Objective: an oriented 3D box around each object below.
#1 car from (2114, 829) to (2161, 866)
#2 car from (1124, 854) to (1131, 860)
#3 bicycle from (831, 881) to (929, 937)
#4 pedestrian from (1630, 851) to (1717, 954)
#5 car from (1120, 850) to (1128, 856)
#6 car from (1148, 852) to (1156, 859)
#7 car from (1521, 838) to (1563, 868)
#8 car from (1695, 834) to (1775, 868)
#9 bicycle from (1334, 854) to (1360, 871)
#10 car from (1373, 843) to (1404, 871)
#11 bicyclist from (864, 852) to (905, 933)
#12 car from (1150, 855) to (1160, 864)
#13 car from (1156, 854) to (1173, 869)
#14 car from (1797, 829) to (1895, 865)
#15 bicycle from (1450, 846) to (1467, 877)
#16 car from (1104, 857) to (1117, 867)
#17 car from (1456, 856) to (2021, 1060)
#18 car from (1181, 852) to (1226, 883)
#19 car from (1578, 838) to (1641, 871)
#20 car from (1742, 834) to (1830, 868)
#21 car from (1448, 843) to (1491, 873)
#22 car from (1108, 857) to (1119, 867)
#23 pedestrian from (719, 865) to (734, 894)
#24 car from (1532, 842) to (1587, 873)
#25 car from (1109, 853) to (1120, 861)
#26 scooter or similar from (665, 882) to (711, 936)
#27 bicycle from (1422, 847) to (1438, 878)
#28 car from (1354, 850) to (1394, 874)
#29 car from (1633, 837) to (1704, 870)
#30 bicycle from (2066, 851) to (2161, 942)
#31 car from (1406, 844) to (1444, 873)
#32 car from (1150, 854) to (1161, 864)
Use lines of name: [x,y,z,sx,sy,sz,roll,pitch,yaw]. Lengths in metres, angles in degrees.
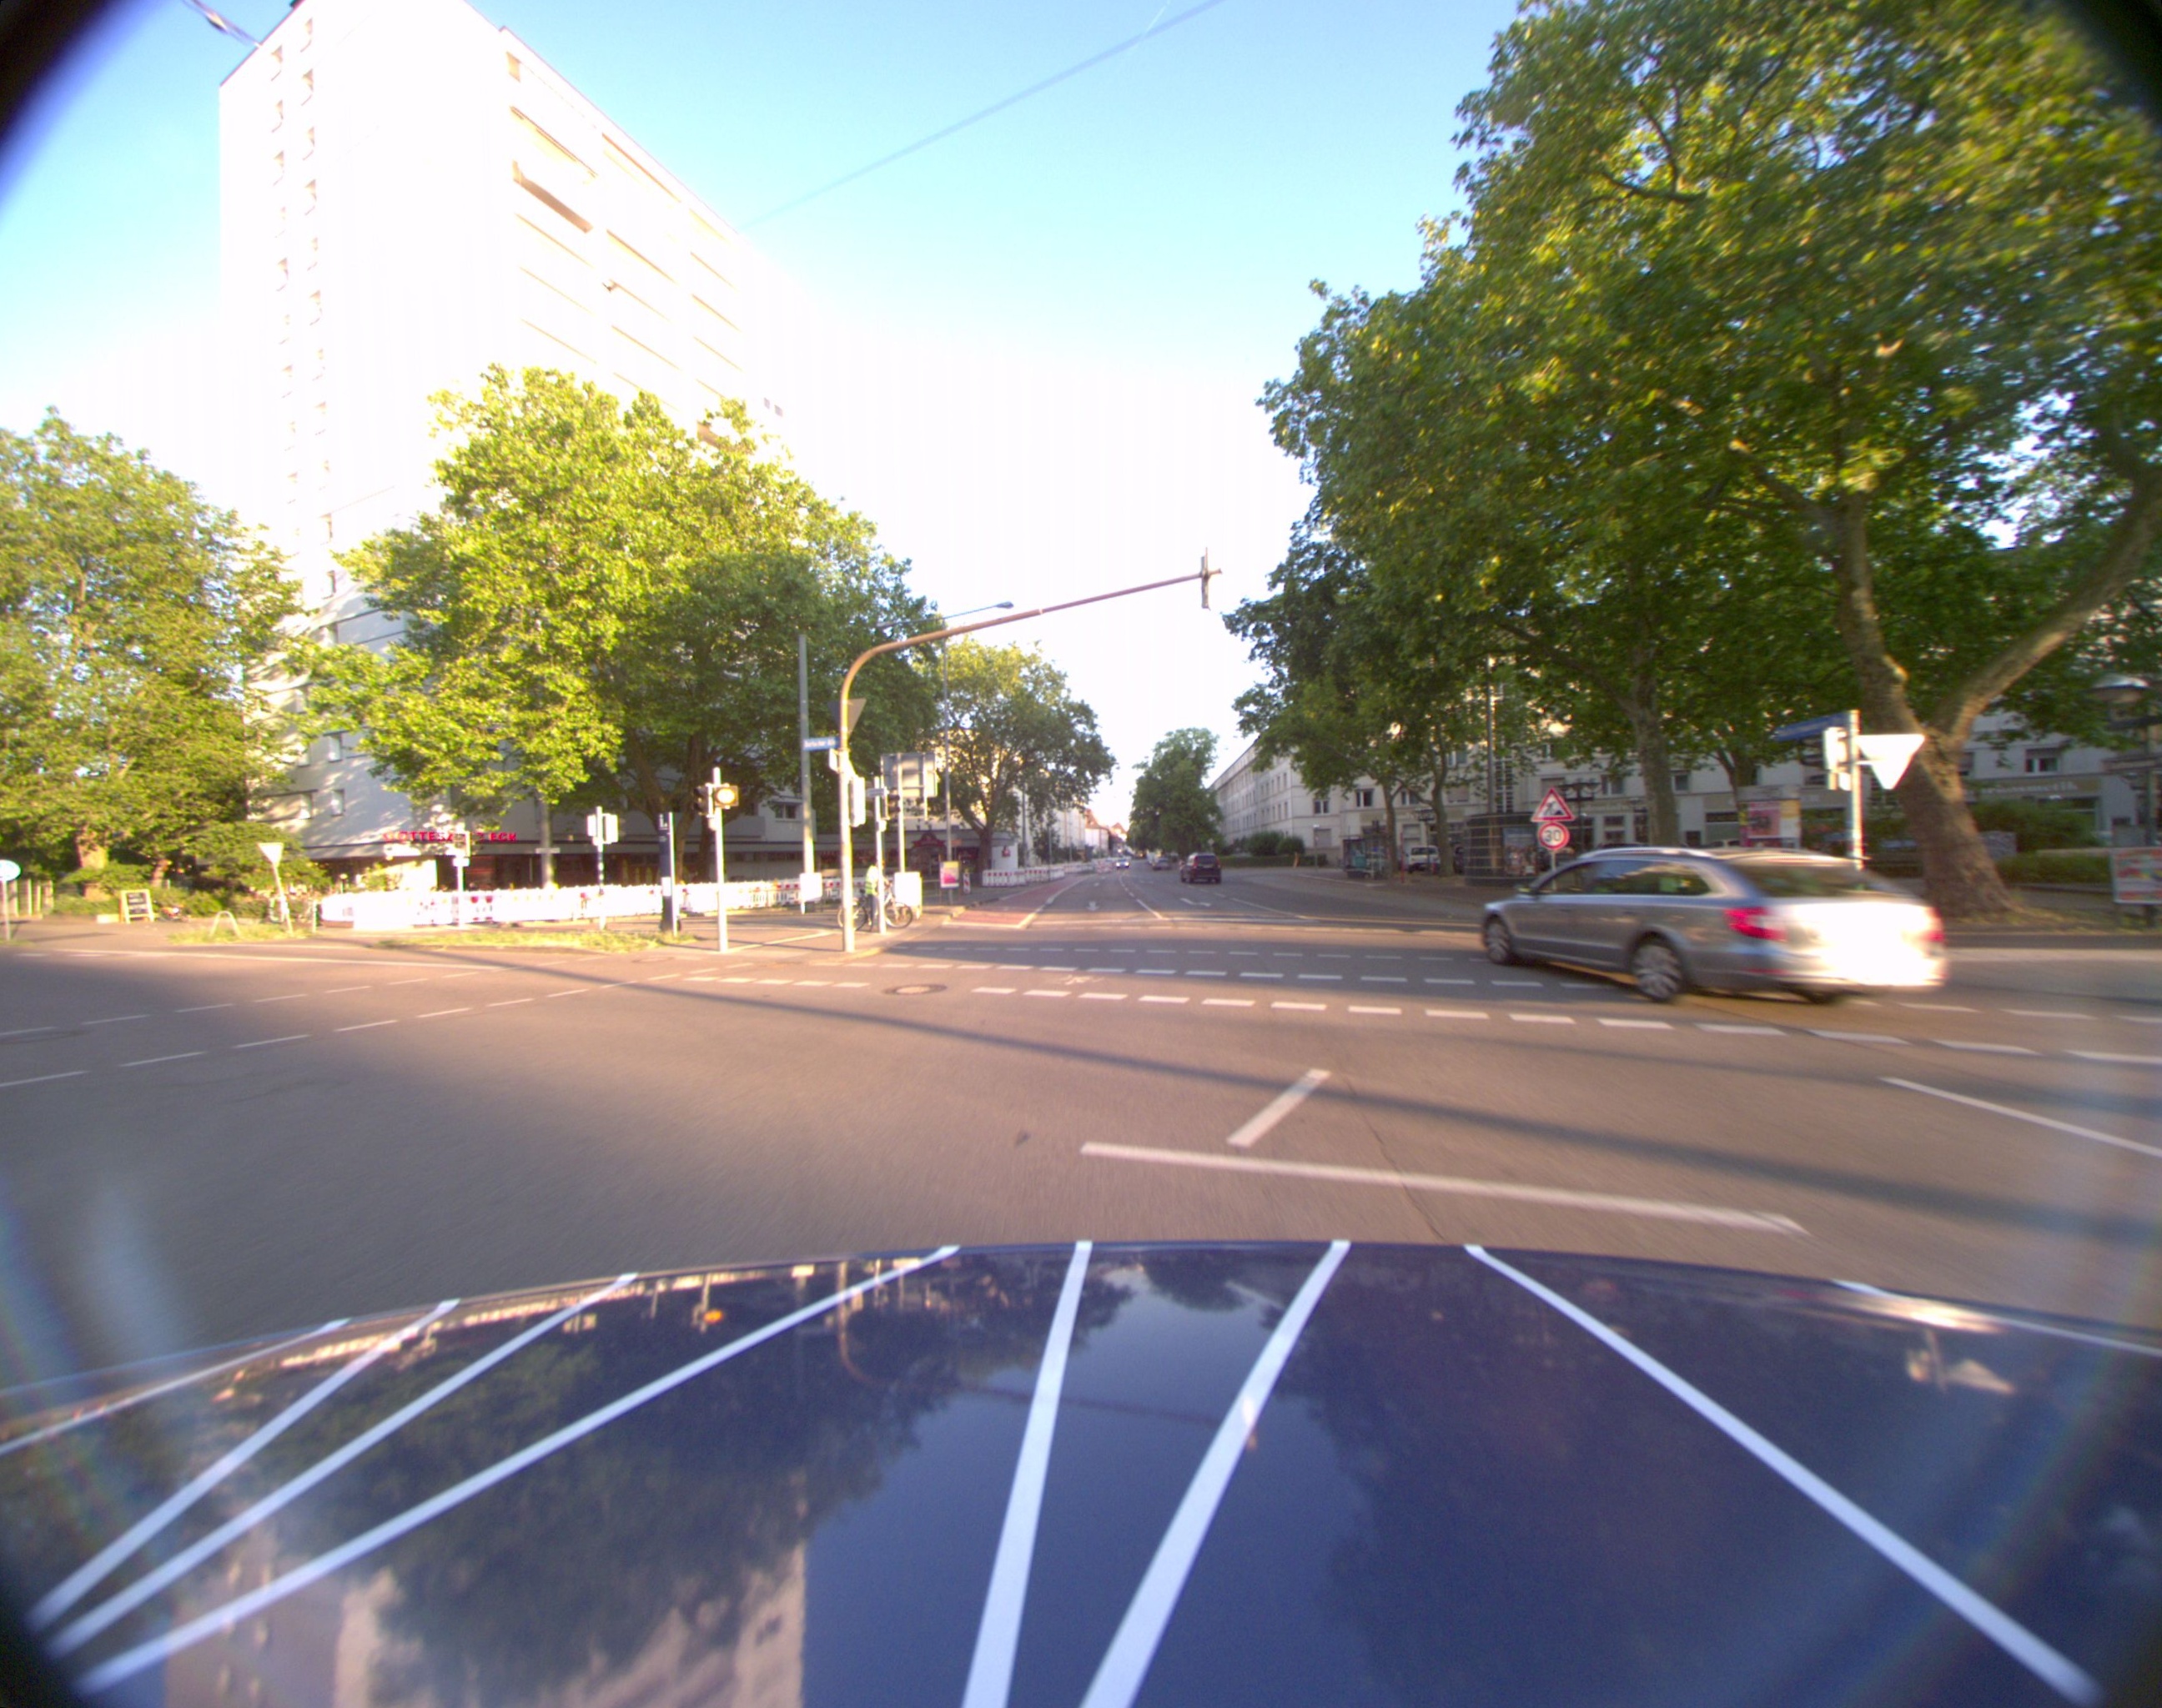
car: [50.840,-0.310,34.818,1.995,1.725,4.649,0,-1,22]
car: [14.661,1.027,240.637,1.892,1.591,4.261,-2,1,7]
bicycle: [-4.700,1.263,17.804,2.075,1.103,0.627,-3,1,-30]
pedestrian: [9.831,0.784,12.638,0.804,1.618,0.773,-3,1,-3]
car: [12.402,-0.213,219.778,1.892,1.591,4.261,-2,1,7]
car: [18.909,0.392,201.831,1.892,1.591,4.261,-2,1,7]
car: [32.848,-0.135,54.250,1.995,1.945,4.647,0,2,25]
car: [35.783,-0.094,41.728,1.995,1.771,4.649,0,-1,22]
bicycle: [20.433,0.658,58.376,1.802,1.199,0.648,-2,1,34]
car: [23.640,0.189,58.261,1.995,1.945,4.647,0,2,25]
bicyclist: [-4.617,0.885,17.850,0.700,1.814,0.627,-3,1,-30]
car: [14.859,1.140,152.766,1.892,1.591,4.261,-2,1,7]
car: [9.812,0.871,89.173,1.892,1.591,4.001,-2,1,7]
car: [40.109,-0.300,40.006,1.995,1.771,4.649,0,-1,22]
bicycle: [21.395,0.408,43.037,0.808,1.605,2.749,-2,1,27]
car: [5.324,1.379,136.095,1.892,1.591,4.261,-2,1,7]
car: [6.275,0.814,8.273,1.999,1.549,4.768,0,0,-1]
car: [7.408,0.794,46.439,1.998,1.774,4.798,-2,0,1]
car: [30.437,0.079,43.915,1.995,1.771,4.649,0,-1,22]
car: [38.082,-0.111,41.188,1.995,1.771,4.649,0,-1,22]
car: [24.012,0.256,47.057,1.995,1.771,4.649,0,-1,22]
car: [6.357,1.614,148.365,1.892,1.726,4.261,-2,1,7]
pedestrian: [-19.976,1.444,42.821,0.642,1.579,0.745,-3,1,-19]
car: [28.279,0.232,45.027,1.995,1.771,4.649,0,-1,22]
car: [7.003,0.615,156.881,1.892,1.651,4.261,-2,1,7]
scooter or similar: [-9.566,1.326,18.493,1.231,1.242,0.516,-2,1,42]
bicycle: [19.912,0.470,43.372,0.690,1.605,2.749,-2,1,27]
car: [19.002,0.519,49.459,1.996,1.494,4.647,0,-1,16]
car: [32.956,0.015,42.788,1.995,1.771,4.649,0,-1,22]
bicycle: [16.495,0.642,11.585,0.526,1.319,1.995,-2,1,7]
car: [21.556,0.317,47.732,1.995,1.771,4.649,0,-1,22]
car: [14.113,0.927,143.106,1.892,1.855,4.261,-2,1,7]
